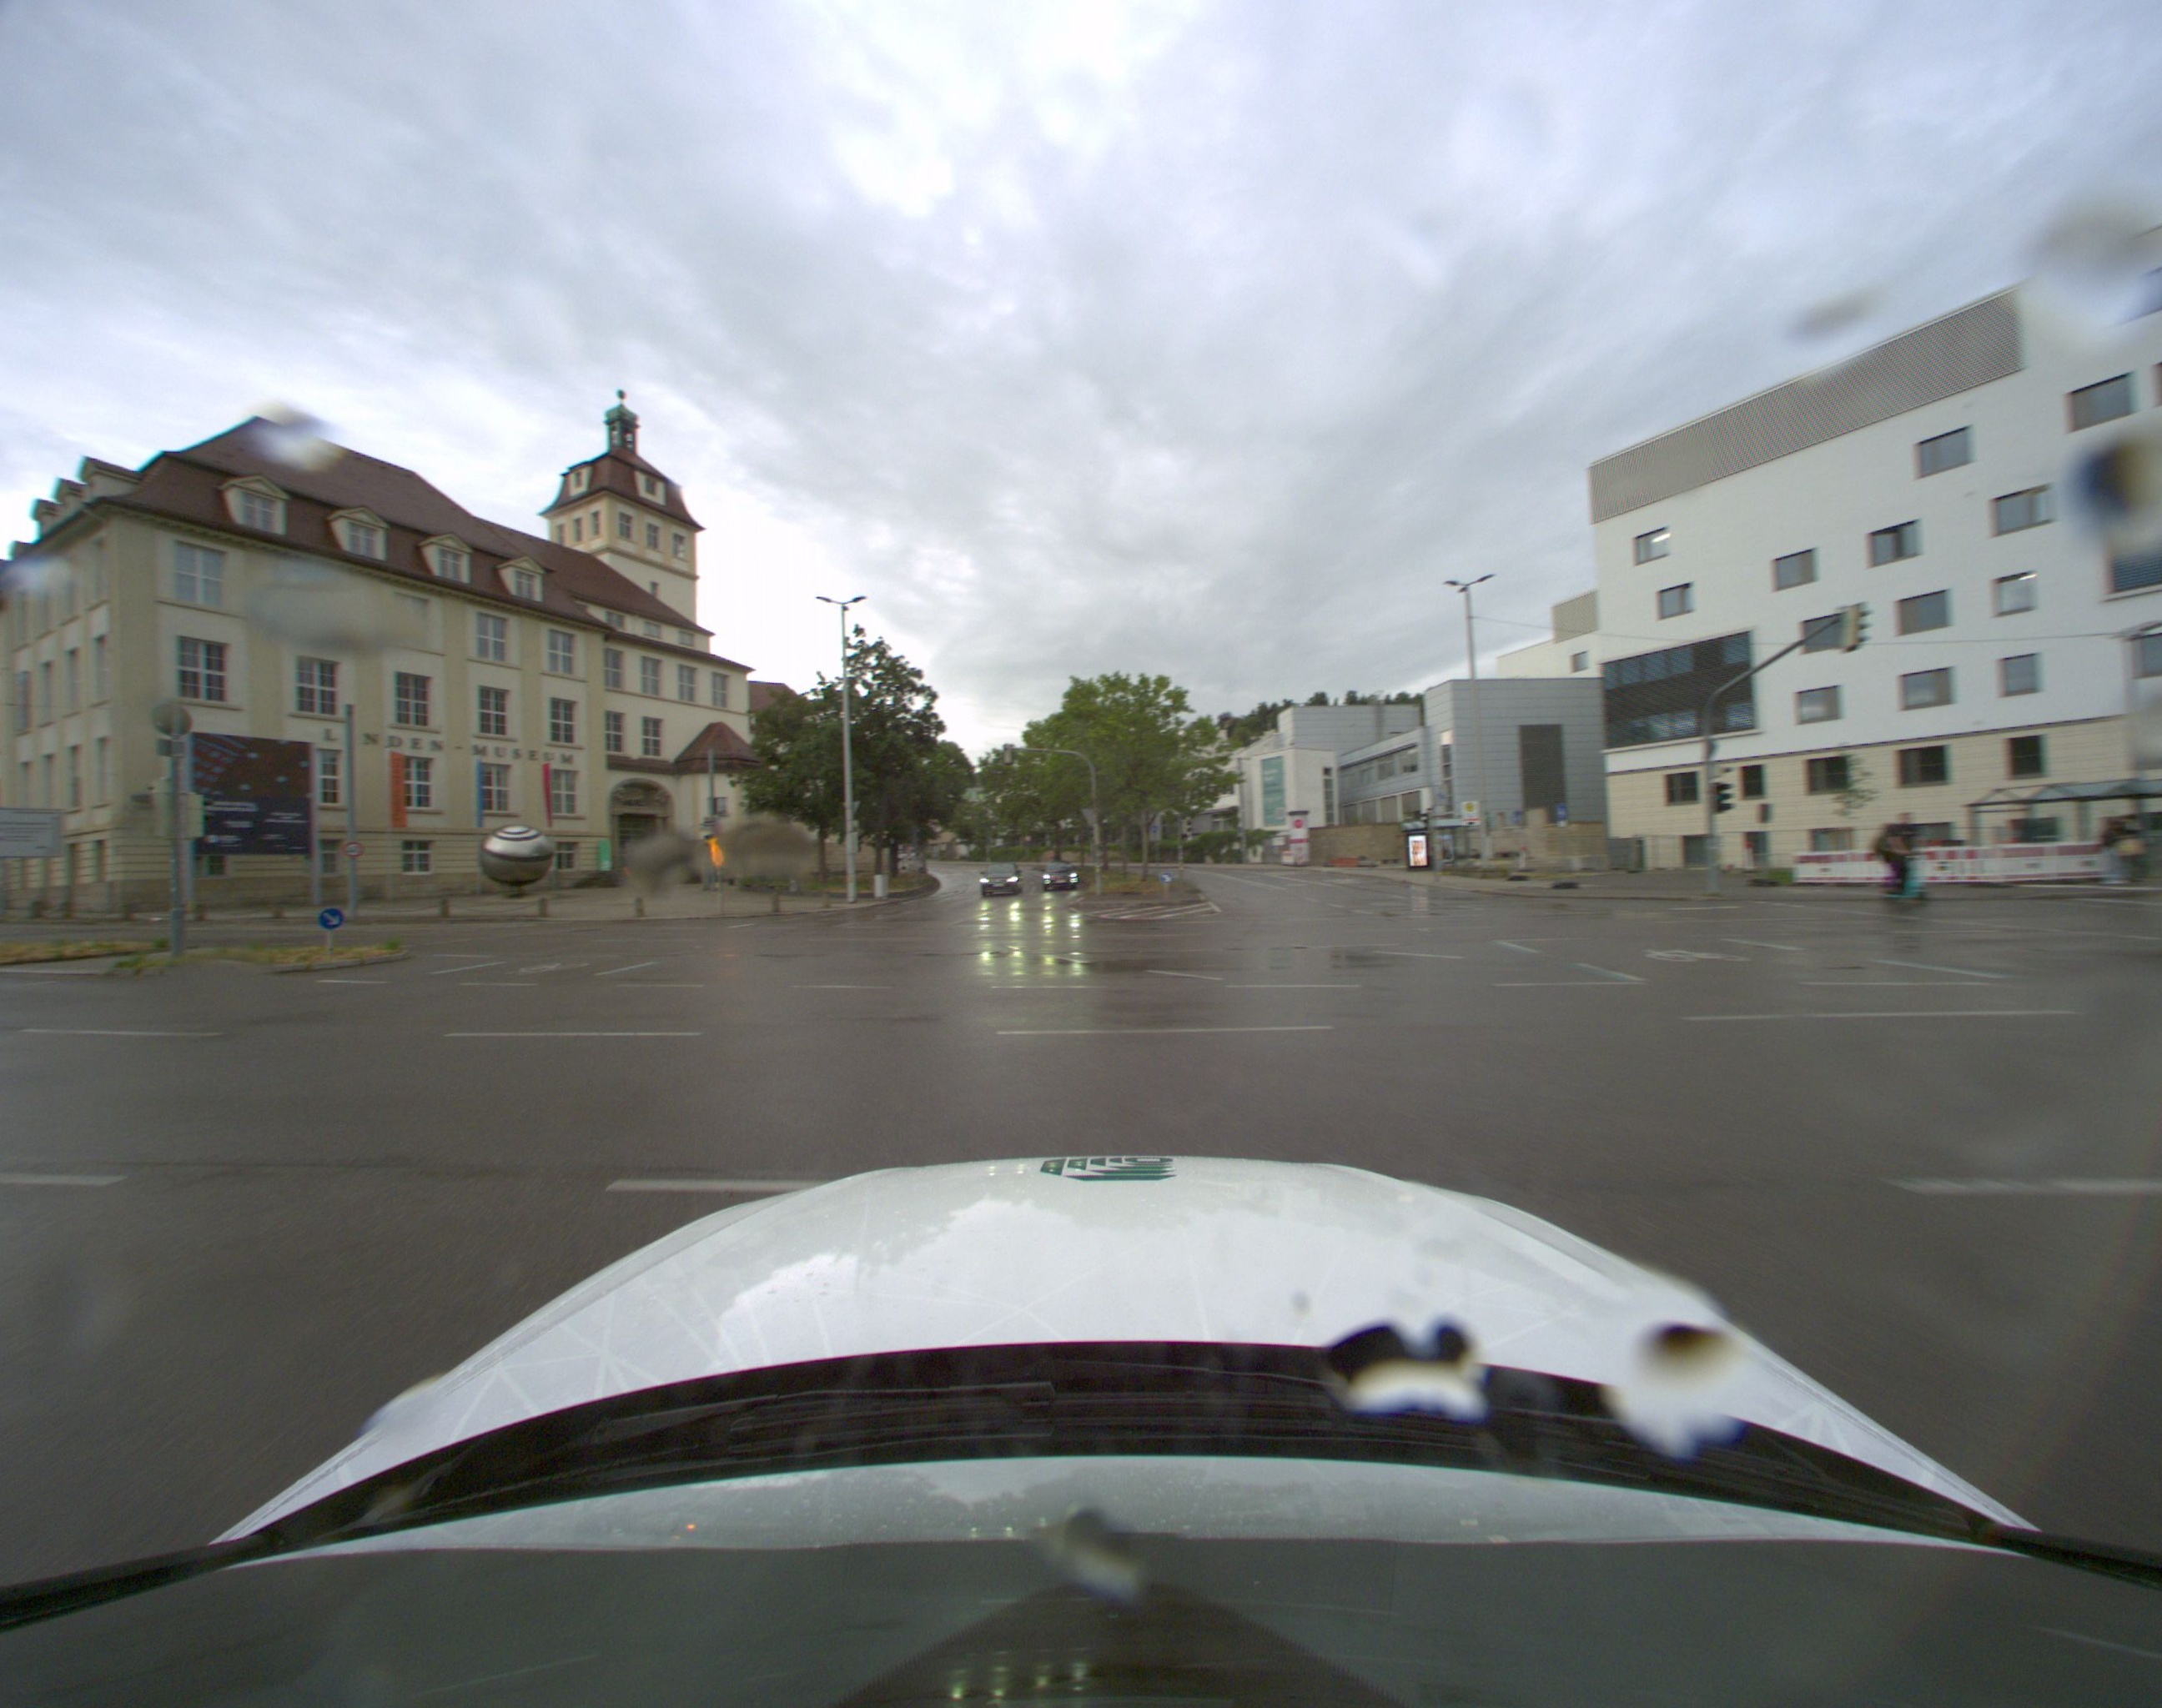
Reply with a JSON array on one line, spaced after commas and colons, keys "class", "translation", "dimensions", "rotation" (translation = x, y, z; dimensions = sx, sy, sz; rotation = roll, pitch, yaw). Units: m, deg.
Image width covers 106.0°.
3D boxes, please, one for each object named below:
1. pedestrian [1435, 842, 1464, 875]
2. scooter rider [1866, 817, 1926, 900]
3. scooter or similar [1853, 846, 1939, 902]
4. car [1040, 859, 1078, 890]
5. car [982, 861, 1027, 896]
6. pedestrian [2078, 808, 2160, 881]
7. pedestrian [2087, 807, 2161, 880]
[{"class": "pedestrian", "translation": [19.442, 0.240, 42.974], "dimensions": [1.248, 1.719, 1.020], "rotation": [-1, -2, 15]}, {"class": "scooter rider", "translation": [18.889, 0.108, 18.887], "dimensions": [0.722, 1.883, 0.631], "rotation": [0, -2, -4]}, {"class": "scooter or similar", "translation": [18.871, 0.462, 18.884], "dimensions": [0.590, 1.239, 1.311], "rotation": [0, -2, -5]}, {"class": "car", "translation": [-1.249, 1.080, 44.908], "dimensions": [1.786, 1.585, 3.992], "rotation": [-2, 0, -5]}, {"class": "car", "translation": [-3.851, 1.181, 41.529], "dimensions": [1.862, 1.564, 4.274], "rotation": [-3, 0, -1]}, {"class": "pedestrian", "translation": [26.509, -0.225, 20.818], "dimensions": [0.946, 1.840, 0.825], "rotation": [0, -2, 5]}, {"class": "pedestrian", "translation": [28.630, -0.256, 22.299], "dimensions": [0.993, 1.935, 0.959], "rotation": [-1, -2, 26]}]
